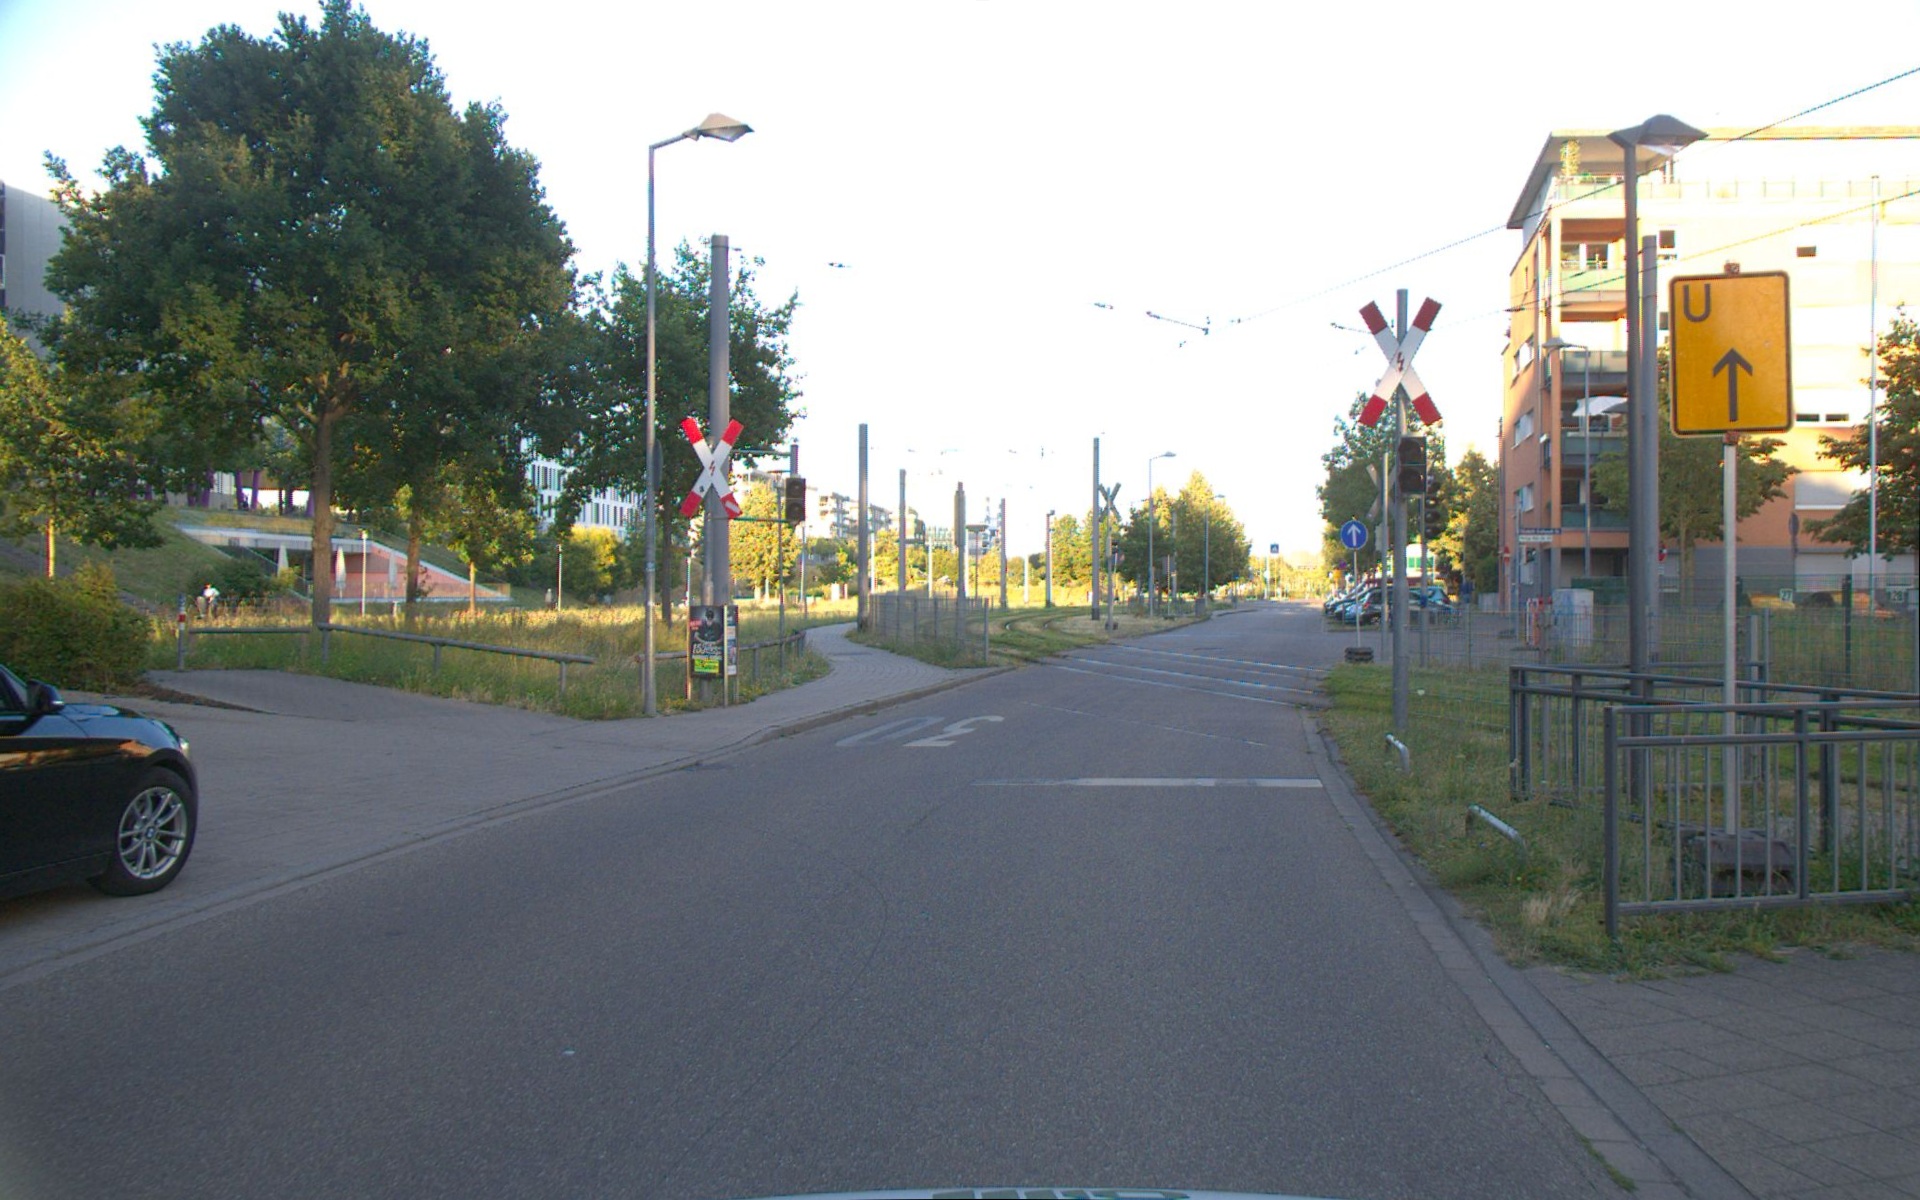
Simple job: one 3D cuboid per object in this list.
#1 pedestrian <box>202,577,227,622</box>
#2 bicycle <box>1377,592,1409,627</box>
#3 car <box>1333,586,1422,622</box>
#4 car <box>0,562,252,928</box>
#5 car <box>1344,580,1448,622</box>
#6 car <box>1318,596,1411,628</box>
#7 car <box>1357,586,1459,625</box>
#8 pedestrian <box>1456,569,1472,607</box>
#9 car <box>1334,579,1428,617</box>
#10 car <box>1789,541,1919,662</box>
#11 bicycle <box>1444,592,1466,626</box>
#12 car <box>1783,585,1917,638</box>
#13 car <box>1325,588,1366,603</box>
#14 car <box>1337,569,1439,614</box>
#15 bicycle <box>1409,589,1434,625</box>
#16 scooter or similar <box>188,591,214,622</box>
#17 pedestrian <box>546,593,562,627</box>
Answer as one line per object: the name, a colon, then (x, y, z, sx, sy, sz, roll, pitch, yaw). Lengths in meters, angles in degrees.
pedestrian: (-31.606, -0.007, 70.119, 0.603, 1.868, 0.791, 2, 0, 11)
bicycle: (15.660, 0.324, 59.873, 0.701, 1.172, 1.899, -2, 2, 2)
car: (18.153, 0.199, 72.069, 3.693, 1.522, 1.540, 0, -2, 12)
car: (-4.786, 0.566, 6.654, 1.814, 1.467, 4.230, 2, 1, 3)
car: (17.561, 0.031, 66.829, 3.963, 1.596, 1.674, -2, 0, 13)
car: (20.747, 0.613, 84.963, 4.569, 1.584, 1.813, 0, 0, 13)
car: (17.440, 0.194, 64.540, 3.669, 1.499, 1.615, 0, 0, 8)
pedestrian: (24.140, -0.577, 79.211, 0.654, 1.773, 0.700, 0, 0, 12)
car: (19.430, -0.081, 76.441, 4.125, 1.596, 1.794, -2, 0, 13)
car: (16.735, 0.007, 30.113, 1.951, 2.049, 4.004, 0, 0, 11)
bicycle: (17.881, 0.321, 59.801, 0.518, 1.146, 1.965, 1, 2, 10)
car: (28.535, 0.326, 53.209, 1.952, 1.622, 4.817, 0, 0, 4)
car: (42.729, -0.548, 183.343, 4.389, 1.624, 2.002, 0, 0, 14)
car: (21.063, -0.415, 81.562, 4.815, 2.154, 2.018, 0, 0, 14)
bicycle: (16.650, 0.243, 59.682, 0.664, 1.172, 1.930, -2, 1, 11)
scooter or similar: (-31.716, 0.257, 69.119, 0.603, 1.265, 0.791, 2, 0, 11)
pedestrian: (-25.024, 0.613, 101.957, 0.603, 2.118, 0.791, 2, 0, 11)
